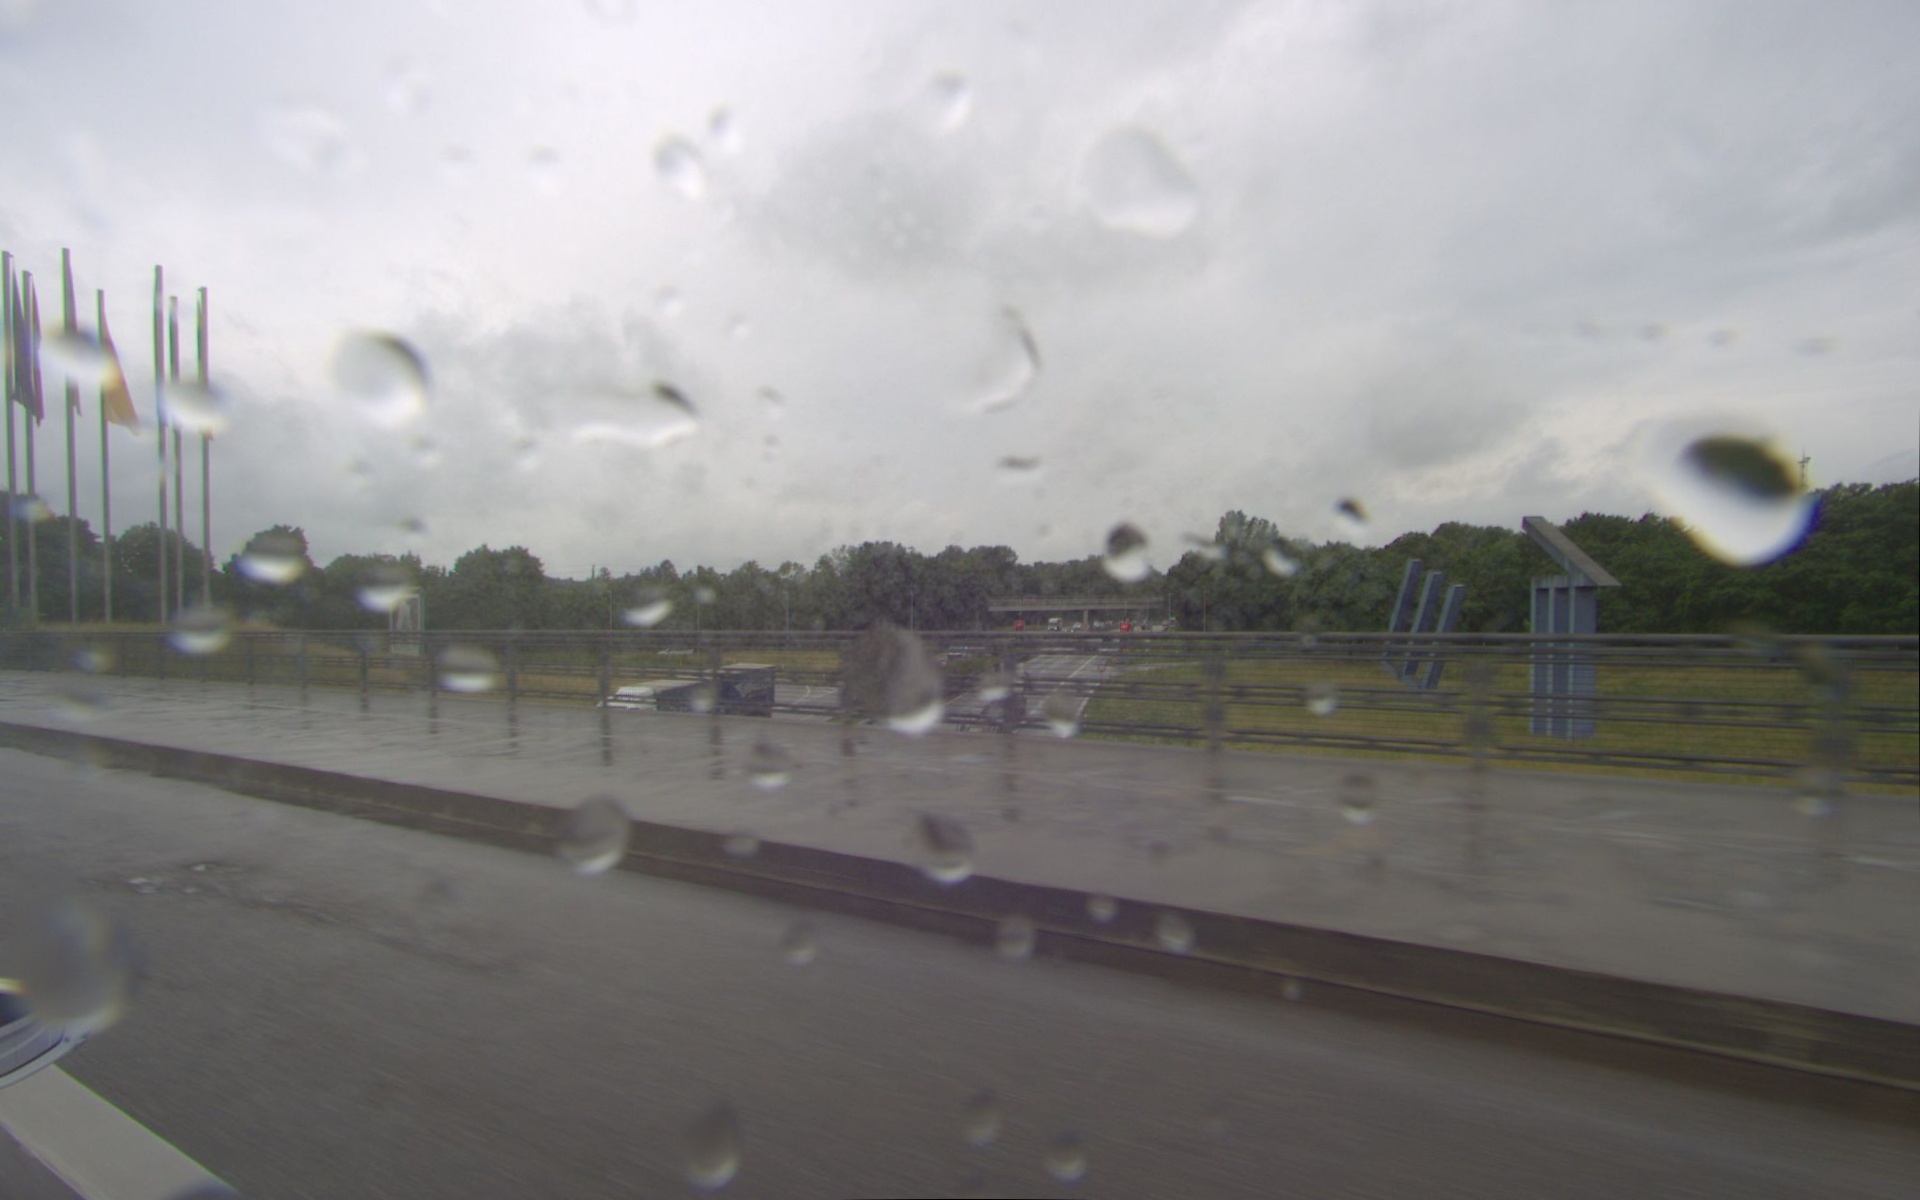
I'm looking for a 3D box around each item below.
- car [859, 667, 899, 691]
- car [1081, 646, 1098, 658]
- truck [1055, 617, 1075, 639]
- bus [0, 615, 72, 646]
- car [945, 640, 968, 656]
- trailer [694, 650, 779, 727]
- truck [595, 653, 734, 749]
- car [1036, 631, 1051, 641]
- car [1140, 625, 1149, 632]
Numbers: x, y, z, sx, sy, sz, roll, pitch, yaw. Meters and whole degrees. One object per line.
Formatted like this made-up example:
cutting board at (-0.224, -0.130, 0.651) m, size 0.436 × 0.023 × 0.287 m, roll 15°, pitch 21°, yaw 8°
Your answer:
car at (-7.700, 7.516, 95.830) m, size 2.255 × 1.990 × 5.617 m, roll 0°, pitch -1°, yaw 12°
car at (19.112, 7.665, 147.752) m, size 1.963 × 1.613 × 3.997 m, roll 0°, pitch -1°, yaw 15°
truck at (22.689, 5.943, 215.140) m, size 2.584 × 4.595 × 10.504 m, roll -1°, pitch -1°, yaw 15°
bus at (-86.835, 2.682, 87.606) m, size 2.713 × 2.713 × 14.580 m, roll 0°, pitch -2°, yaw 16°
car at (-0.425, 6.322, 132.123) m, size 1.964 × 1.976 × 3.994 m, roll 0°, pitch -1°, yaw 18°
trailer at (-13.999, 5.456, 63.349) m, size 2.520 × 4.357 × 7.370 m, roll 0°, pitch -1°, yaw 11°
truck at (-15.669, 5.213, 54.309) m, size 2.520 × 4.357 × 10.941 m, roll 0°, pitch -1°, yaw 11°
car at (15.446, 6.614, 185.207) m, size 1.964 × 1.809 × 3.994 m, roll 0°, pitch -1°, yaw 18°
car at (44.381, 6.936, 240.697) m, size 1.963 × 1.613 × 3.997 m, roll 0°, pitch -1°, yaw 15°
